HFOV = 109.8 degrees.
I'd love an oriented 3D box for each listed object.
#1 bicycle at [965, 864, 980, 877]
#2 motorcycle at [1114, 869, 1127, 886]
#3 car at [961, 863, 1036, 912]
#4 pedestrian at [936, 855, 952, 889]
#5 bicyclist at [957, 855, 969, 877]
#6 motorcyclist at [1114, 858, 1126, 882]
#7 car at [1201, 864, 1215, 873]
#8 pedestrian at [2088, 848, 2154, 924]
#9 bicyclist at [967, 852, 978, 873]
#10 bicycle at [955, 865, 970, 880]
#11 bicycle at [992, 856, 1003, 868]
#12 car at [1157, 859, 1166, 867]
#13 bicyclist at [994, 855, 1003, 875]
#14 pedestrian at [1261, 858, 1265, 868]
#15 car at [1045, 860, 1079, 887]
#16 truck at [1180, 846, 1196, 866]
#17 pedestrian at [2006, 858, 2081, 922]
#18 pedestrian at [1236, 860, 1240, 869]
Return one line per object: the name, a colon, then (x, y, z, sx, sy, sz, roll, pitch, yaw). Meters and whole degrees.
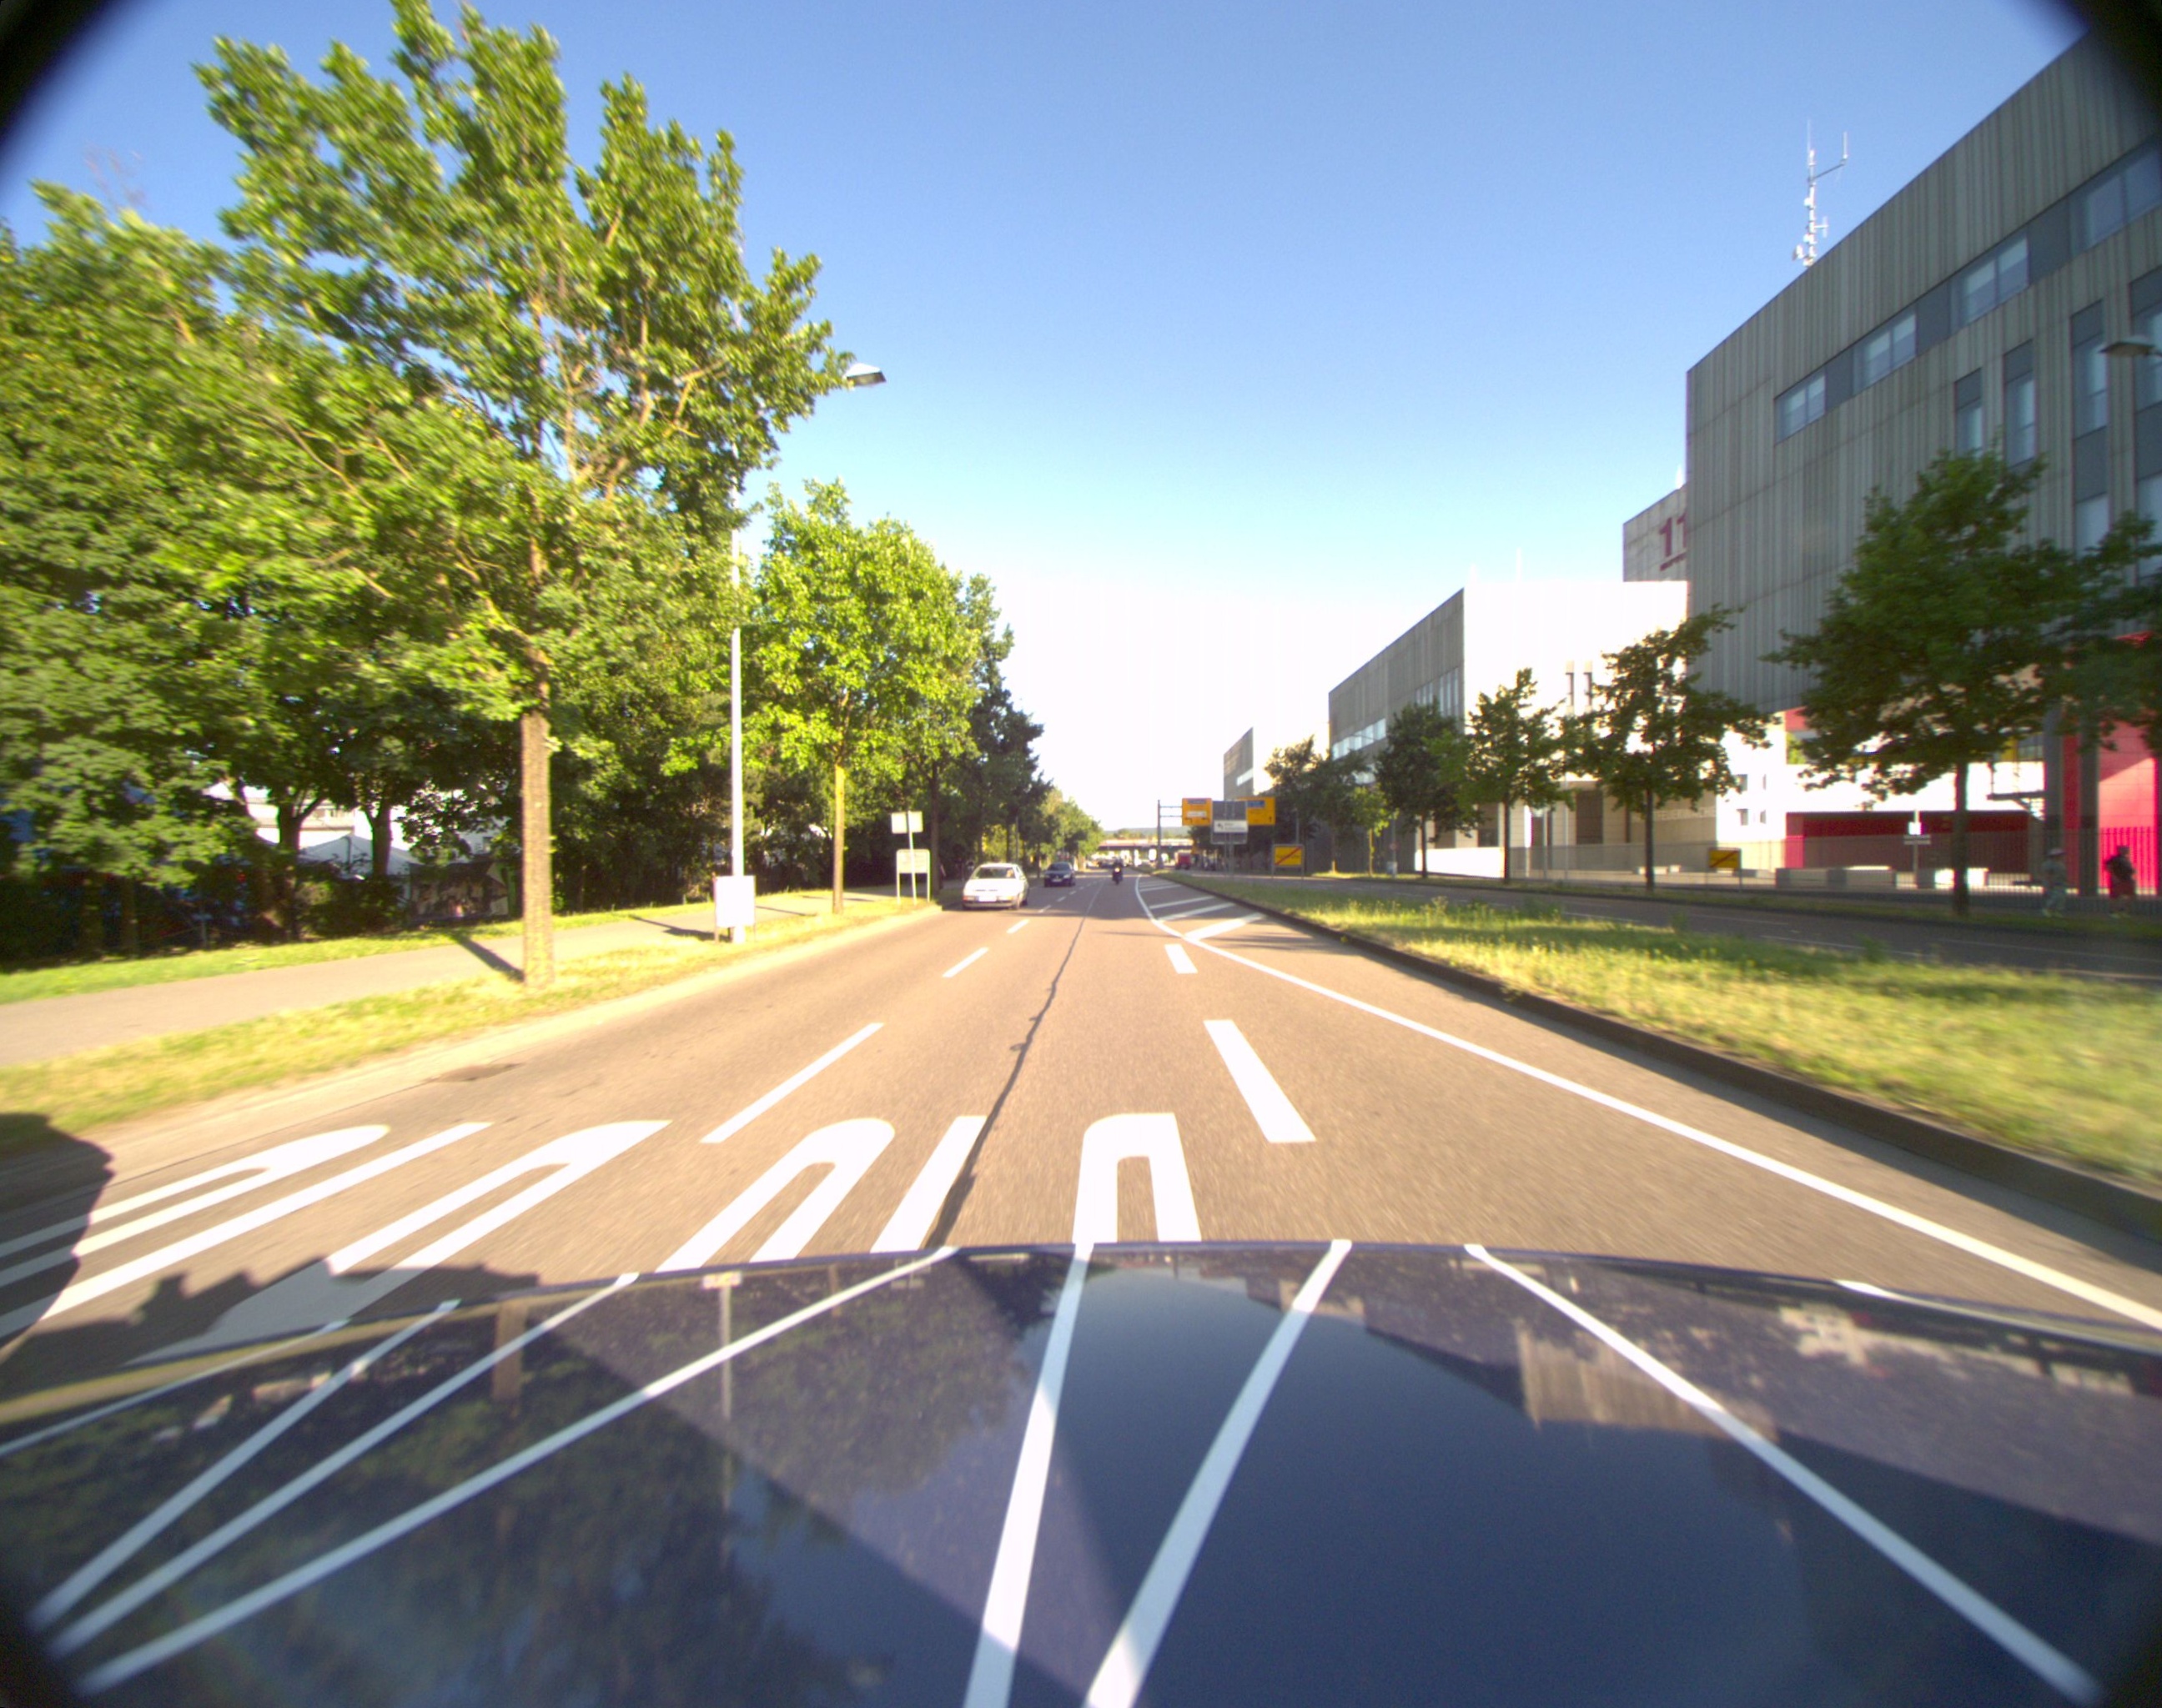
bicycle: (-8.097, 1.242, 56.871, 0.618, 0.968, 2.059, -1, 0, 5)
motorcycle: (2.410, 1.416, 46.792, 0.749, 0.977, 2.140, 0, 0, 2)
car: (-2.529, 1.032, 24.195, 1.614, 1.390, 4.040, -1, -1, 4)
pedestrian: (-6.450, 0.852, 35.820, 0.673, 1.564, 0.910, 1, 0, -5)
bicyclist: (-8.114, 0.847, 52.149, 0.614, 1.493, 0.848, -1, 0, 4)
motorcyclist: (2.409, 0.978, 46.744, 0.734, 1.503, 0.919, 0, 0, 1)
car: (22.066, 2.512, 131.982, 1.600, 1.503, 3.867, -1, 0, -2)
pedestrian: (25.535, 0.773, 18.664, 0.634, 1.830, 0.717, -1, 0, 4)
bicyclist: (-8.115, 0.655, 56.866, 0.604, 1.569, 0.848, -1, 0, 4)
bicycle: (-8.123, 1.256, 52.044, 0.618, 0.968, 1.822, -1, 0, 5)
bicycle: (-7.405, 0.706, 67.319, 0.618, 0.968, 2.059, -1, 0, 5)
car: (19.380, 2.188, 182.298, 1.998, 1.805, 4.403, 0, 0, 4)
bicyclist: (-7.343, 0.992, 67.898, 0.604, 1.723, 0.848, -1, 0, 4)
pedestrian: (31.498, 1.585, 131.285, 0.604, 1.757, 0.649, -1, 0, 4)
car: (-1.093, 1.134, 45.640, 1.725, 1.490, 4.215, -2, -1, 2)
truck: (21.765, 0.437, 153.844, 3.004, 3.788, 10.096, -1, 0, 9)
pedestrian: (24.675, 0.913, 19.492, 0.778, 1.592, 0.909, -1, 0, 4)
pedestrian: (29.582, 2.026, 143.237, 0.698, 1.619, 0.725, 0, 0, 3)
